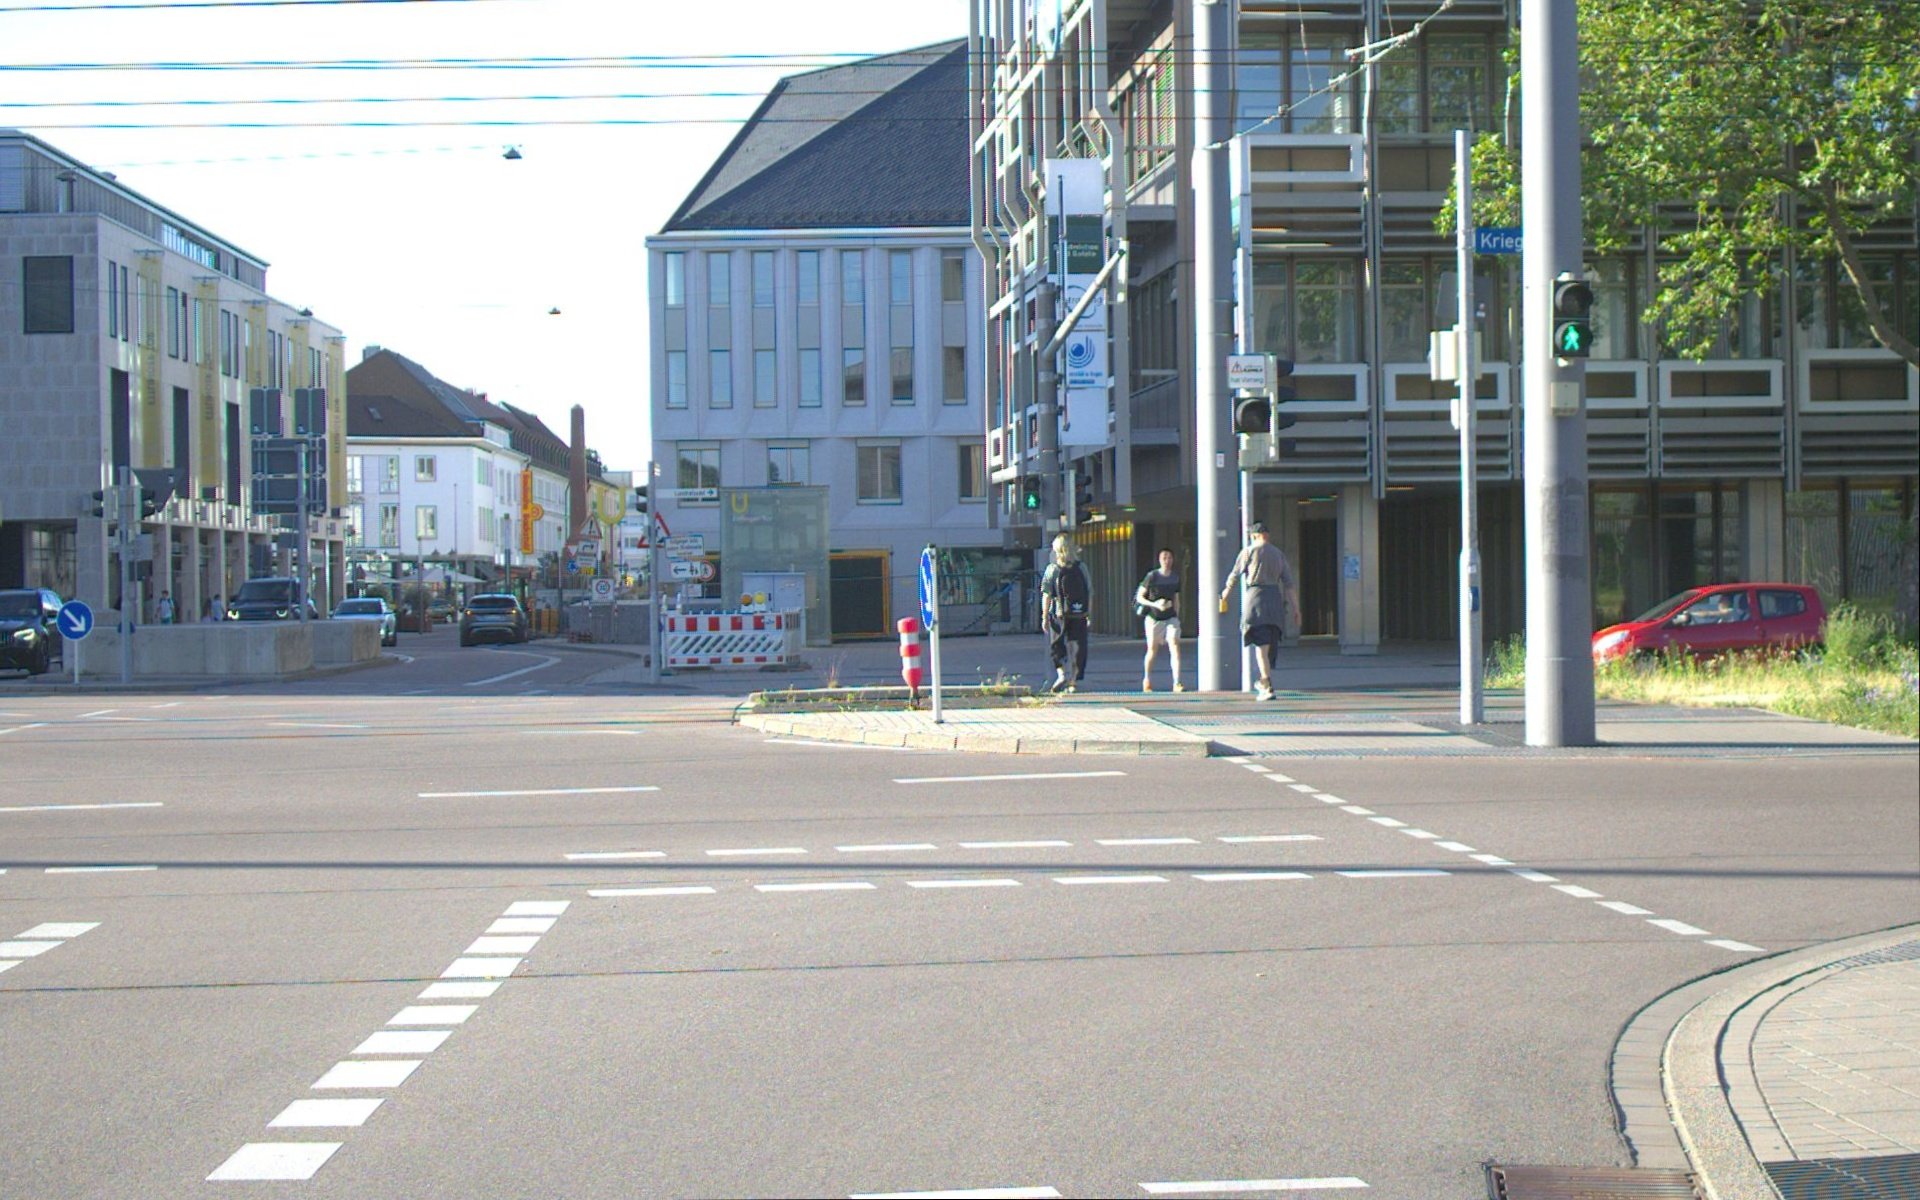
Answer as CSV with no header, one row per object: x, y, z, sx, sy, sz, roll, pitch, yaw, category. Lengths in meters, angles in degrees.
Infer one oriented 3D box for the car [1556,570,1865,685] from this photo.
10.515,0.396,48.357,3.867,1.481,1.846,-1,-3,-2,car

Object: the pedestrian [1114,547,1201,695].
2.579,0.263,44.973,1.011,1.904,1.051,0,1,-3,pedestrian

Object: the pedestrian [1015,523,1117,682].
1.059,0.012,34.430,0.895,1.544,0.924,-1,2,-6,pedestrian

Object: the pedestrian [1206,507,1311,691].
2.864,-0.018,33.070,0.855,1.738,0.739,-1,1,-7,pedestrian

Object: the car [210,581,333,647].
-18.277,0.371,91.502,2.174,1.686,5.486,0,0,0,car

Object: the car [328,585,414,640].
-18.741,0.394,109.625,2.174,1.686,5.616,0,0,-4,car

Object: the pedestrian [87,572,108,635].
-28.032,0.111,111.706,0.616,2.007,0.478,1,0,-14,pedestrian

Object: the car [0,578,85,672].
-17.612,0.444,63.725,1.937,1.672,4.295,-1,0,-4,car

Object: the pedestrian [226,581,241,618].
-27.014,-0.012,127.844,0.488,1.352,0.564,1,0,-5,pedestrian

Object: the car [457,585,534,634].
-13.935,0.288,103.321,1.936,1.445,4.262,0,0,-3,car

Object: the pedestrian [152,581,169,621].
-26.982,0.032,116.016,0.488,1.352,0.564,1,0,-5,pedestrian

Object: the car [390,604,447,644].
-26.186,1.149,166.452,2.174,1.866,5.616,0,0,-3,car
